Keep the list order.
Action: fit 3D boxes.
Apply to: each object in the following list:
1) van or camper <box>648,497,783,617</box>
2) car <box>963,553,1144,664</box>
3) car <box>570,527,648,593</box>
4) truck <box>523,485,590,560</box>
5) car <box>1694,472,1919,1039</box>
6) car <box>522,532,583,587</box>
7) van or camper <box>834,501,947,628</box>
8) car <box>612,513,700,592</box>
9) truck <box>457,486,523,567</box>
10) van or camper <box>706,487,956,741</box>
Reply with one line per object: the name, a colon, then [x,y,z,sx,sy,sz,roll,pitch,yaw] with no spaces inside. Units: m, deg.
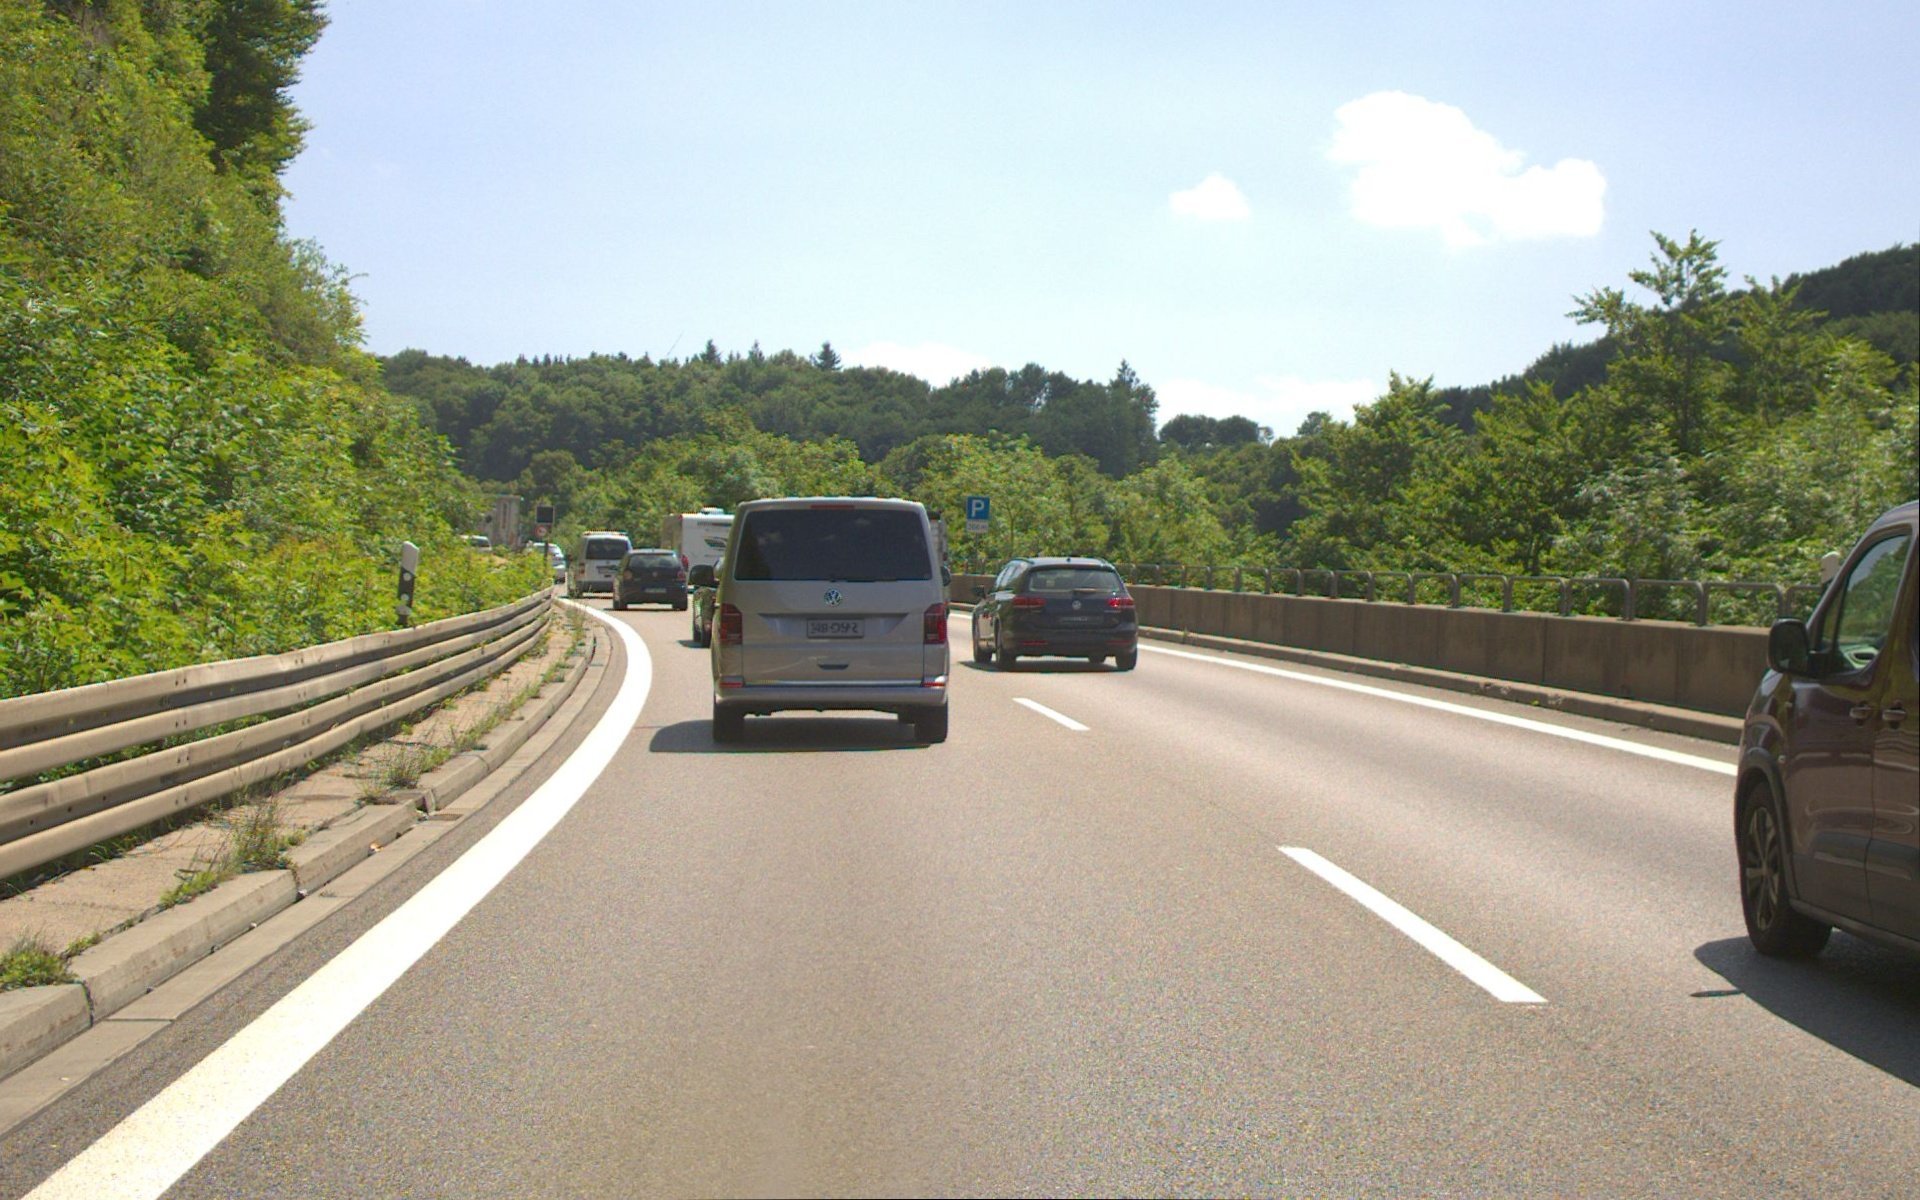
van or camper: [-8.084,-1.409,112.672,3.275,3.776,8.114,0,1,-12]
car: [1.181,0.088,45.075,1.768,1.371,3.593,0,1,-8]
car: [-10.032,-1.148,98.518,1.993,1.811,4.001,1,1,-3]
truck: [-24.386,-4.647,208.052,3.291,4.317,7.730,0,0,-1]
car: [3.918,0.489,11.516,1.833,1.778,4.676,0,0,-1]
car: [-14.655,-1.459,123.455,1.993,1.908,4.001,1,1,-9]
van or camper: [-1.498,-0.746,71.922,2.263,2.542,4.737,-1,1,-2]
car: [-7.309,-1.142,82.283,1.993,1.811,4.001,1,1,-6]
truck: [-26.832,-4.166,196.133,3.291,4.504,7.732,0,1,-11]
van or camper: [-1.148,0.085,28.492,1.875,1.943,4.294,0,1,-5]
